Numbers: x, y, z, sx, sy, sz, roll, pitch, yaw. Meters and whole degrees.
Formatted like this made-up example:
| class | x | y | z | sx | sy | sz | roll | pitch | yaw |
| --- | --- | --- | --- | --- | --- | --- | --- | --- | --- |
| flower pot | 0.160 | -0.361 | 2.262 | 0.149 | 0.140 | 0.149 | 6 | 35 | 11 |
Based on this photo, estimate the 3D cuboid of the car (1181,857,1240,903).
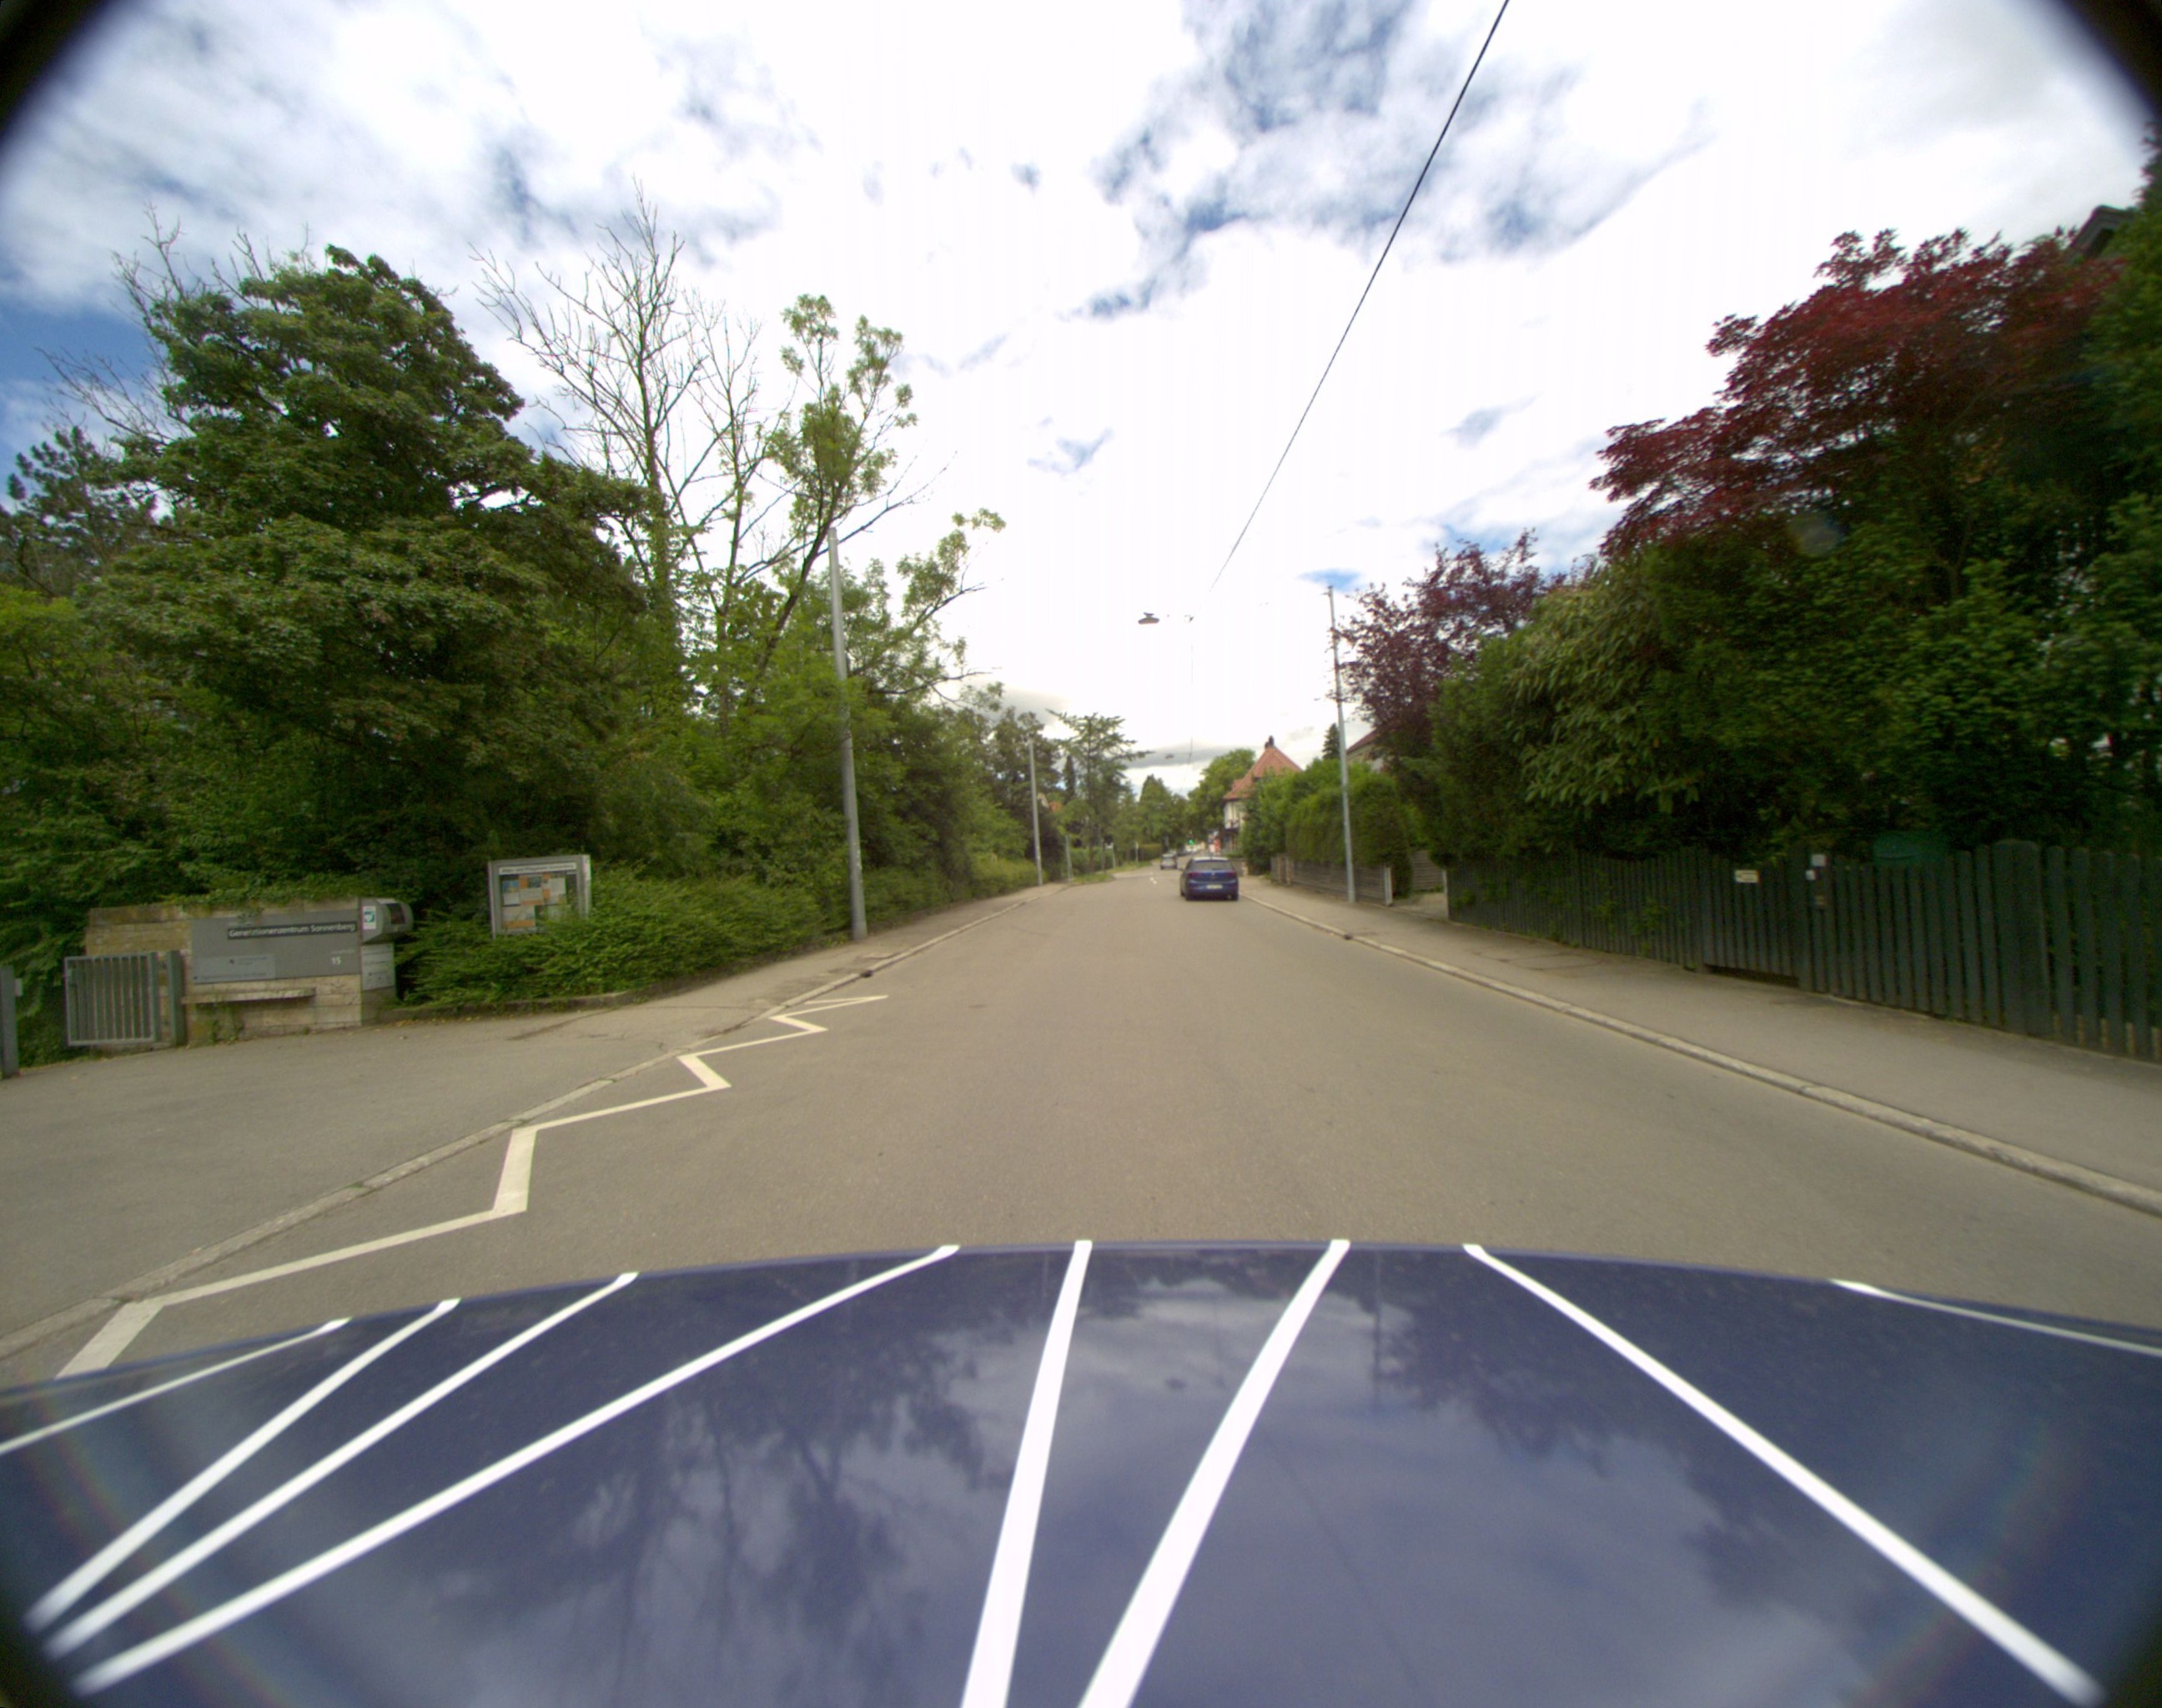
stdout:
| class | x | y | z | sx | sy | sz | roll | pitch | yaw |
| --- | --- | --- | --- | --- | --- | --- | --- | --- | --- |
| car | 4.391 | 0.840 | 26.157 | 1.697 | 1.423 | 3.928 | 0 | 0 | 5 |

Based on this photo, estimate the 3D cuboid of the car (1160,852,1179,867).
| class | x | y | z | sx | sy | sz | roll | pitch | yaw |
| --- | --- | --- | --- | --- | --- | --- | --- | --- | --- |
| car | 9.700 | 0.590 | 83.278 | 1.844 | 1.646 | 4.139 | 0 | 1 | 3 |

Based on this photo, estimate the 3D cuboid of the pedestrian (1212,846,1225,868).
| class | x | y | z | sx | sy | sz | roll | pitch | yaw |
| --- | --- | --- | --- | --- | --- | --- | --- | --- | --- |
| pedestrian | 11.540 | 0.228 | 63.767 | 0.821 | 1.734 | 0.604 | -5 | 1 | 6 |

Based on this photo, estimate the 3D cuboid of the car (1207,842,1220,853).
| class | x | y | z | sx | sy | sz | roll | pitch | yaw |
| --- | --- | --- | --- | --- | --- | --- | --- | --- | --- |
| car | 26.403 | -1.356 | 151.652 | 1.884 | 1.905 | 4.834 | -8 | 0 | 5 |

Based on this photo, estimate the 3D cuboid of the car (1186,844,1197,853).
| class | x | y | z | sx | sy | sz | roll | pitch | yaw |
| --- | --- | --- | --- | --- | --- | --- | --- | --- | --- |
| car | 23.042 | -1.160 | 158.253 | 1.998 | 1.686 | 4.001 | -5 | 0 | 5 |

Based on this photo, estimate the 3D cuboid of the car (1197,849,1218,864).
| class | x | y | z | sx | sy | sz | roll | pitch | yaw |
| --- | --- | --- | --- | --- | --- | --- | --- | --- | --- |
| car | 13.977 | 0.242 | 84.092 | 1.821 | 1.343 | 3.395 | -5 | 0 | 16 |
